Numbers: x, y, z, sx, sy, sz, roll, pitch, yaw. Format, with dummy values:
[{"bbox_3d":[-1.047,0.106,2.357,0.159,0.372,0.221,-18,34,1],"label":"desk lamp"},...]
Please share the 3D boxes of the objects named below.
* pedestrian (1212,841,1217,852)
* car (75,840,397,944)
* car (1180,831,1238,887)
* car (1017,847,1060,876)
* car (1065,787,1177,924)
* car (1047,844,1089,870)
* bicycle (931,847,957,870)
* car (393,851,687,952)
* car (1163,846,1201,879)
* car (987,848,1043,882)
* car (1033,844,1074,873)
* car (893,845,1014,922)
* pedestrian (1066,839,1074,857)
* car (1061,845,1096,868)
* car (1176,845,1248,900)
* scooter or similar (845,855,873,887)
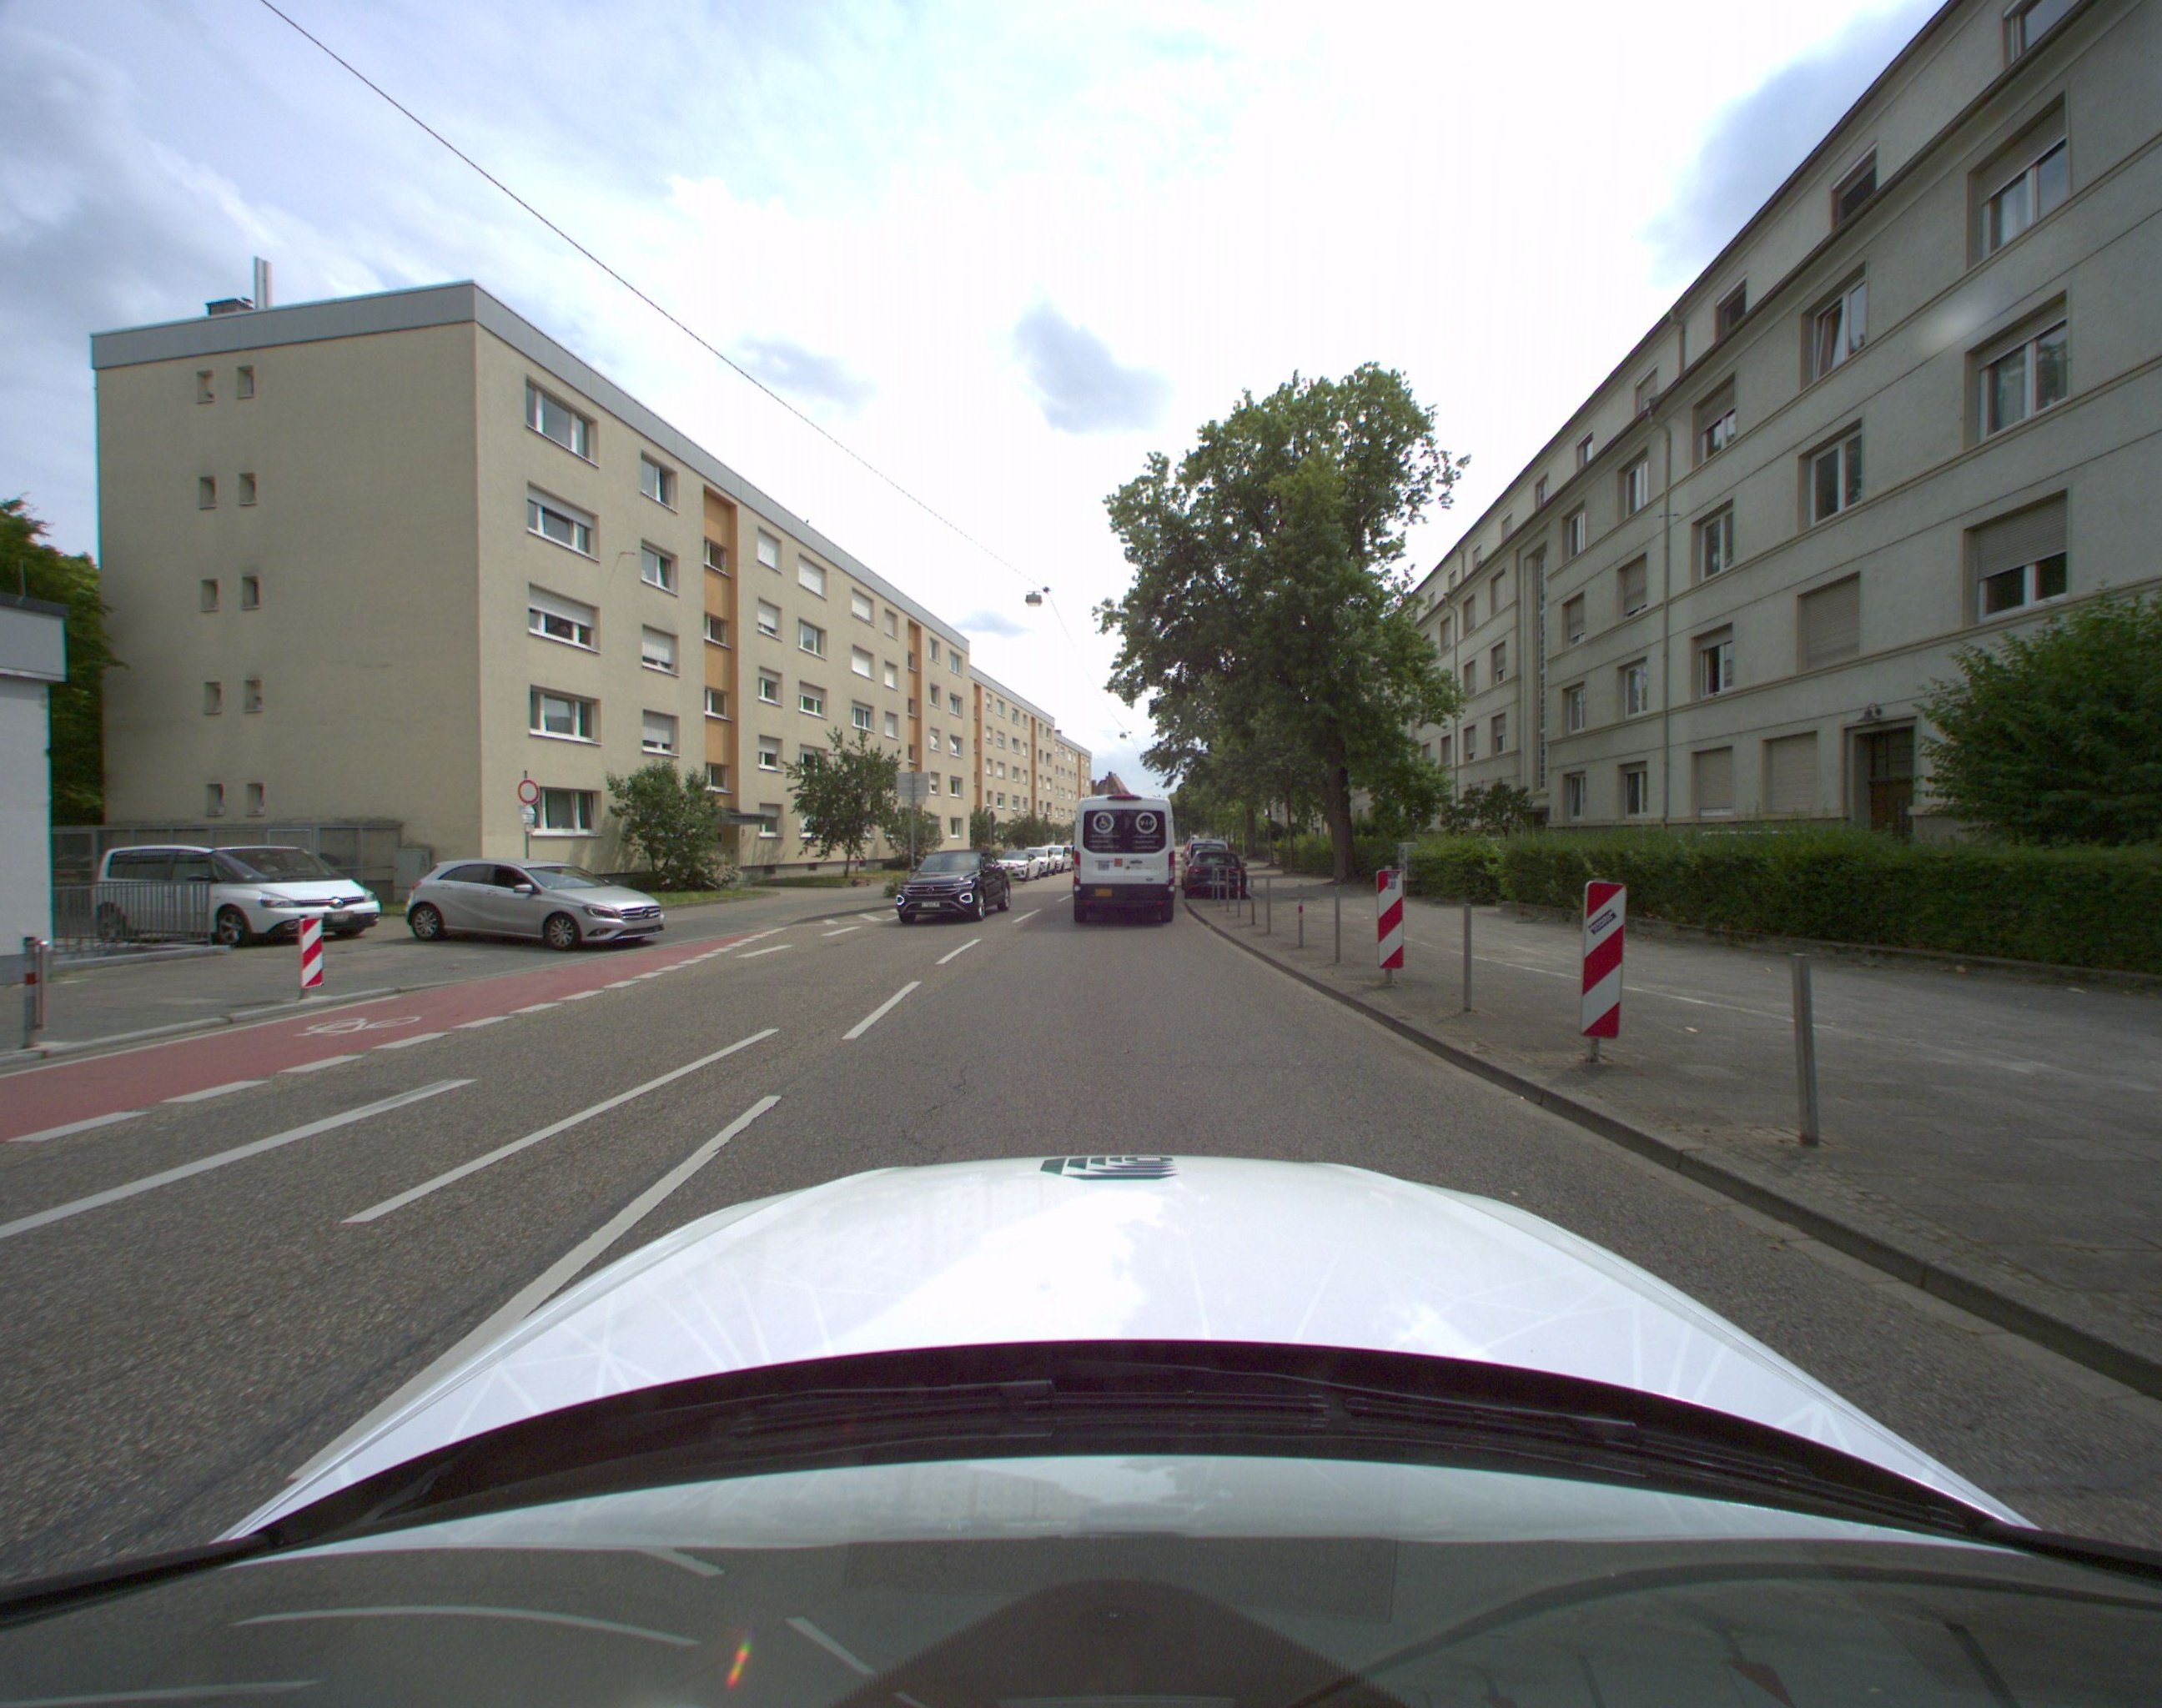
[{"bbox_3d":[21.035,-1.161,128.060,0.526,1.828,0.518,-1,0,-34],"label":"pedestrian"},{"bbox_3d":[-15.059,0.647,14.589,4.598,1.686,1.856,-1,1,13],"label":"car"},{"bbox_3d":[4.712,0.140,29.938,1.906,1.865,4.858,1,1,9],"label":"car"},{"bbox_3d":[-2.233,0.360,43.932,1.700,1.473,3.996,1,1,6],"label":"car"},{"bbox_3d":[0.987,0.021,17.631,2.060,2.540,4.642,-1,0,6],"label":"car"},{"bbox_3d":[-0.811,0.149,54.948,1.931,1.612,4.874,1,1,9],"label":"car"},{"bbox_3d":[-7.635,0.244,45.576,0.574,1.251,1.943,0,2,18],"label":"bicycle"},{"bbox_3d":[-9.486,0.767,14.433,4.146,1.450,1.855,2,1,10],"label":"car"},{"bbox_3d":[4.777,0.359,38.908,1.688,1.449,4.108,0,1,6],"label":"car"},{"bbox_3d":[-3.065,0.468,38.692,1.698,1.473,4.000,1,1,9],"label":"car"},{"bbox_3d":[-1.621,0.236,49.296,1.688,1.612,4.487,1,1,8],"label":"car"},{"bbox_3d":[-2.764,0.575,18.559,1.688,1.518,4.008,-1,1,6],"label":"car"},{"bbox_3d":[-1.081,-0.582,79.823,0.616,1.813,0.901,1,0,5],"label":"pedestrian"},{"bbox_3d":[-0.152,0.127,60.569,1.931,1.612,4.312,1,1,8],"label":"car"},{"bbox_3d":[3.876,0.477,24.138,1.906,1.444,4.249,1,1,9],"label":"car"},{"bbox_3d":[-8.679,0.640,31.872,0.398,1.193,1.296,1,1,19],"label":"scooter or similar"}]
